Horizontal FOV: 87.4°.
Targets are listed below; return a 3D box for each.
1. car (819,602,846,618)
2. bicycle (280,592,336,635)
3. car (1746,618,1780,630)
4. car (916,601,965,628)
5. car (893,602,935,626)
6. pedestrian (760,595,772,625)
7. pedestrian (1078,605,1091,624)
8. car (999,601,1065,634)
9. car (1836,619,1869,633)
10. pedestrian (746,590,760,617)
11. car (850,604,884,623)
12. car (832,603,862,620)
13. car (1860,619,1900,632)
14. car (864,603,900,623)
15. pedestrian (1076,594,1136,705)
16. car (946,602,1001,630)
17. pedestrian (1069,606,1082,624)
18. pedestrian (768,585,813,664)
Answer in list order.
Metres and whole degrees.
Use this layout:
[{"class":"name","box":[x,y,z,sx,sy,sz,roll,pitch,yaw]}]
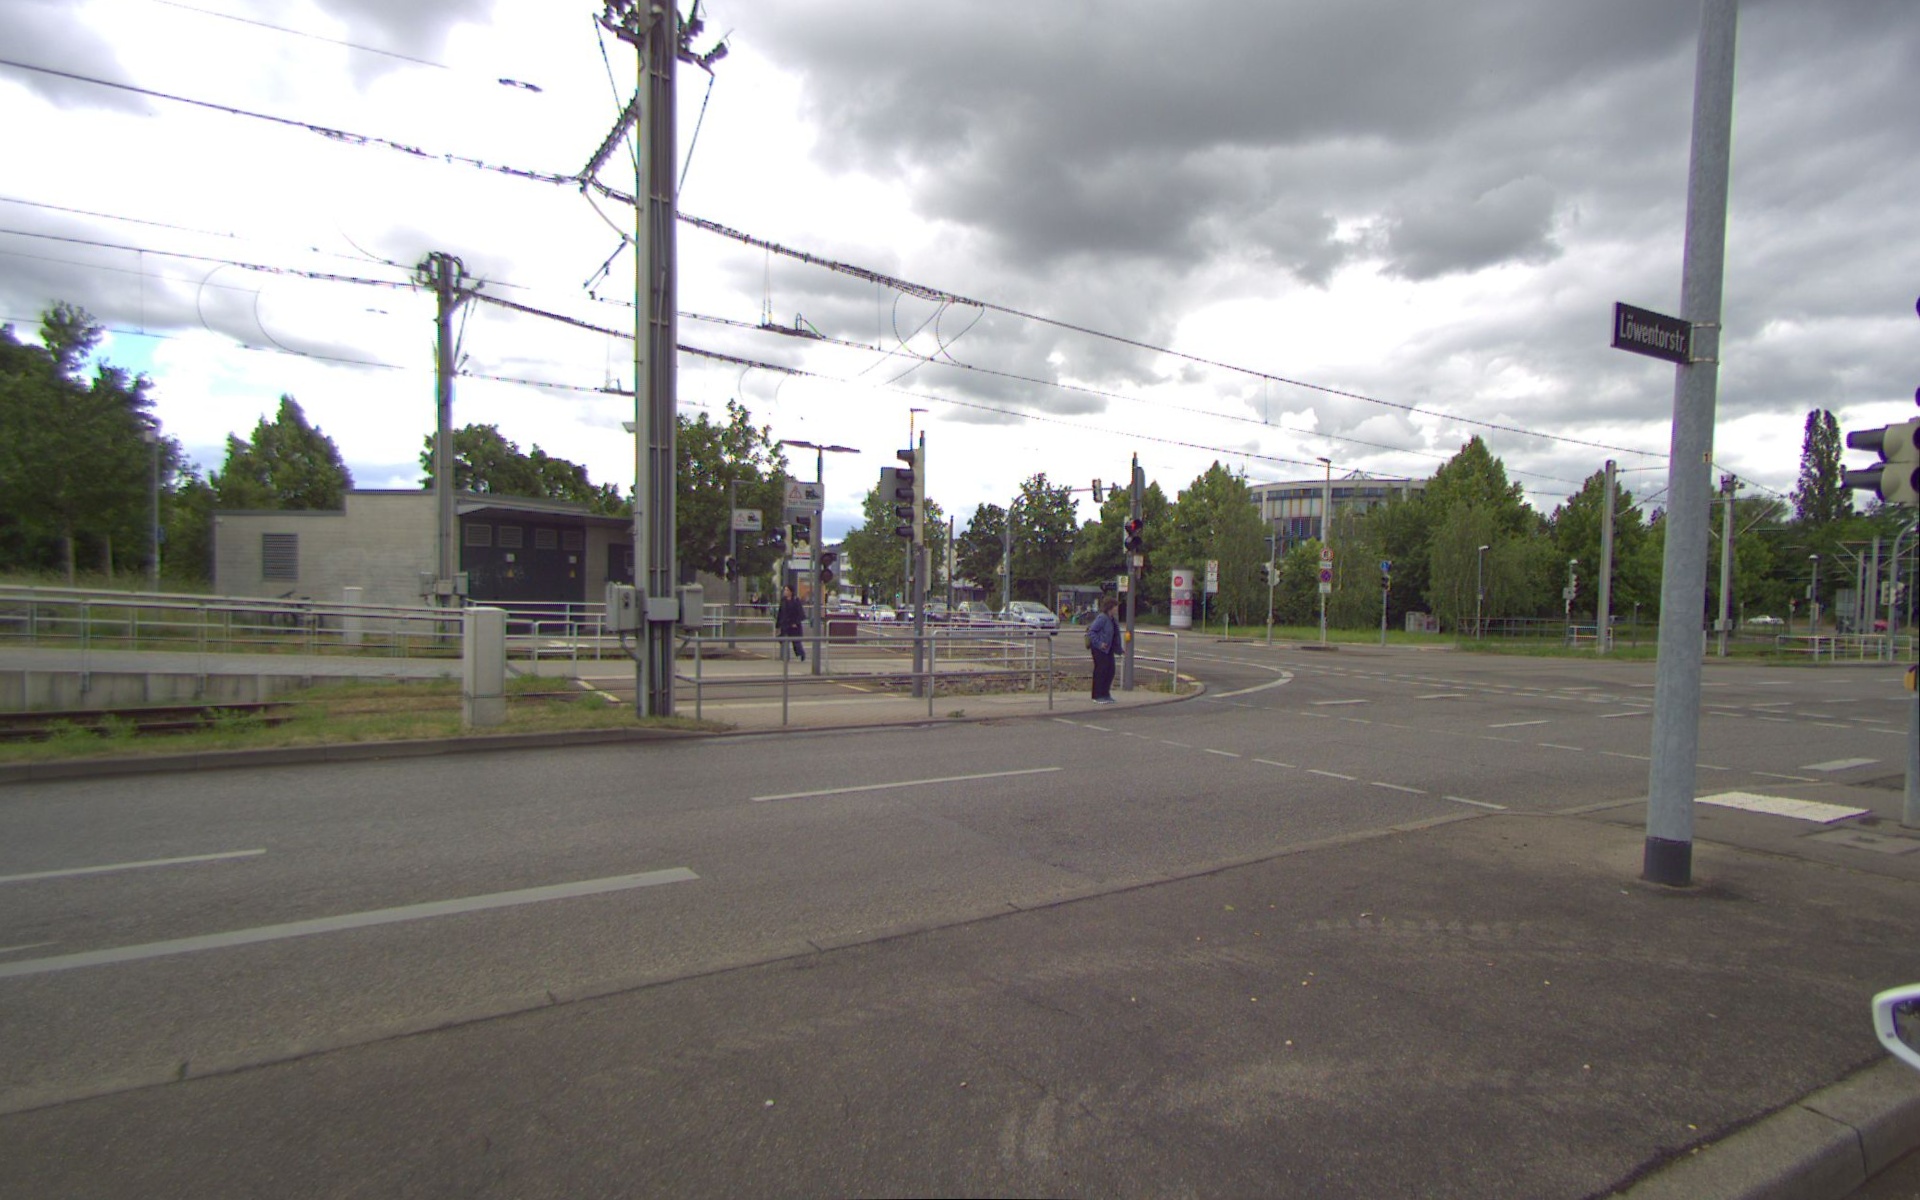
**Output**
[{"class":"car","box":[-11.927,0.961,94.078,1.706,1.456,3.731,1,0,-20]},{"class":"bicycle","box":[-17.325,0.349,26.684,1.452,1.101,0.492,1,0,22]},{"class":"car","box":[115.586,3.458,144.559,1.748,1.567,4.025,1,0,2]},{"class":"car","box":[-1.147,0.817,58.171,1.706,1.456,3.731,1,0,-20]},{"class":"car","box":[-3.000,0.889,64.937,1.706,1.456,3.731,1,0,-20]},{"class":"pedestrian","box":[-12.975,0.690,67.105,0.738,1.993,0.795,1,0,-9]},{"class":"pedestrian","box":[8.850,1.053,71.671,0.652,1.322,0.780,1,0,-16]},{"class":"car","box":[3.304,0.801,46.815,1.706,1.456,3.731,1,0,-20]},{"class":"car","box":[102.329,2.937,115.234,1.753,1.465,4.521,-1,0,27]},{"class":"pedestrian","box":[-12.837,0.223,62.313,0.771,1.649,0.660,1,0,-22]},{"class":"car","box":[-7.414,1.023,79.690,1.706,1.456,3.991,1,0,-20]},{"class":"car","box":[-9.765,0.986,86.722,1.706,1.456,3.731,1,0,-20]},{"class":"car","box":[115.824,3.193,126.478,1.747,1.567,4.027,1,0,9]},{"class":"car","box":[-5.809,0.963,74.787,1.706,1.456,3.731,1,0,-20]},{"class":"pedestrian","box":[2.146,0.707,14.757,0.701,1.584,0.533,1,1,-44]},{"class":"car","box":[0.692,0.845,53.674,1.706,1.456,3.731,1,0,-20]},{"class":"pedestrian","box":[8.395,1.081,72.871,0.652,1.321,0.780,1,0,-16]},{"class":"pedestrian","box":[-3.586,0.515,21.222,0.653,1.628,0.698,1,1,-41]}]
